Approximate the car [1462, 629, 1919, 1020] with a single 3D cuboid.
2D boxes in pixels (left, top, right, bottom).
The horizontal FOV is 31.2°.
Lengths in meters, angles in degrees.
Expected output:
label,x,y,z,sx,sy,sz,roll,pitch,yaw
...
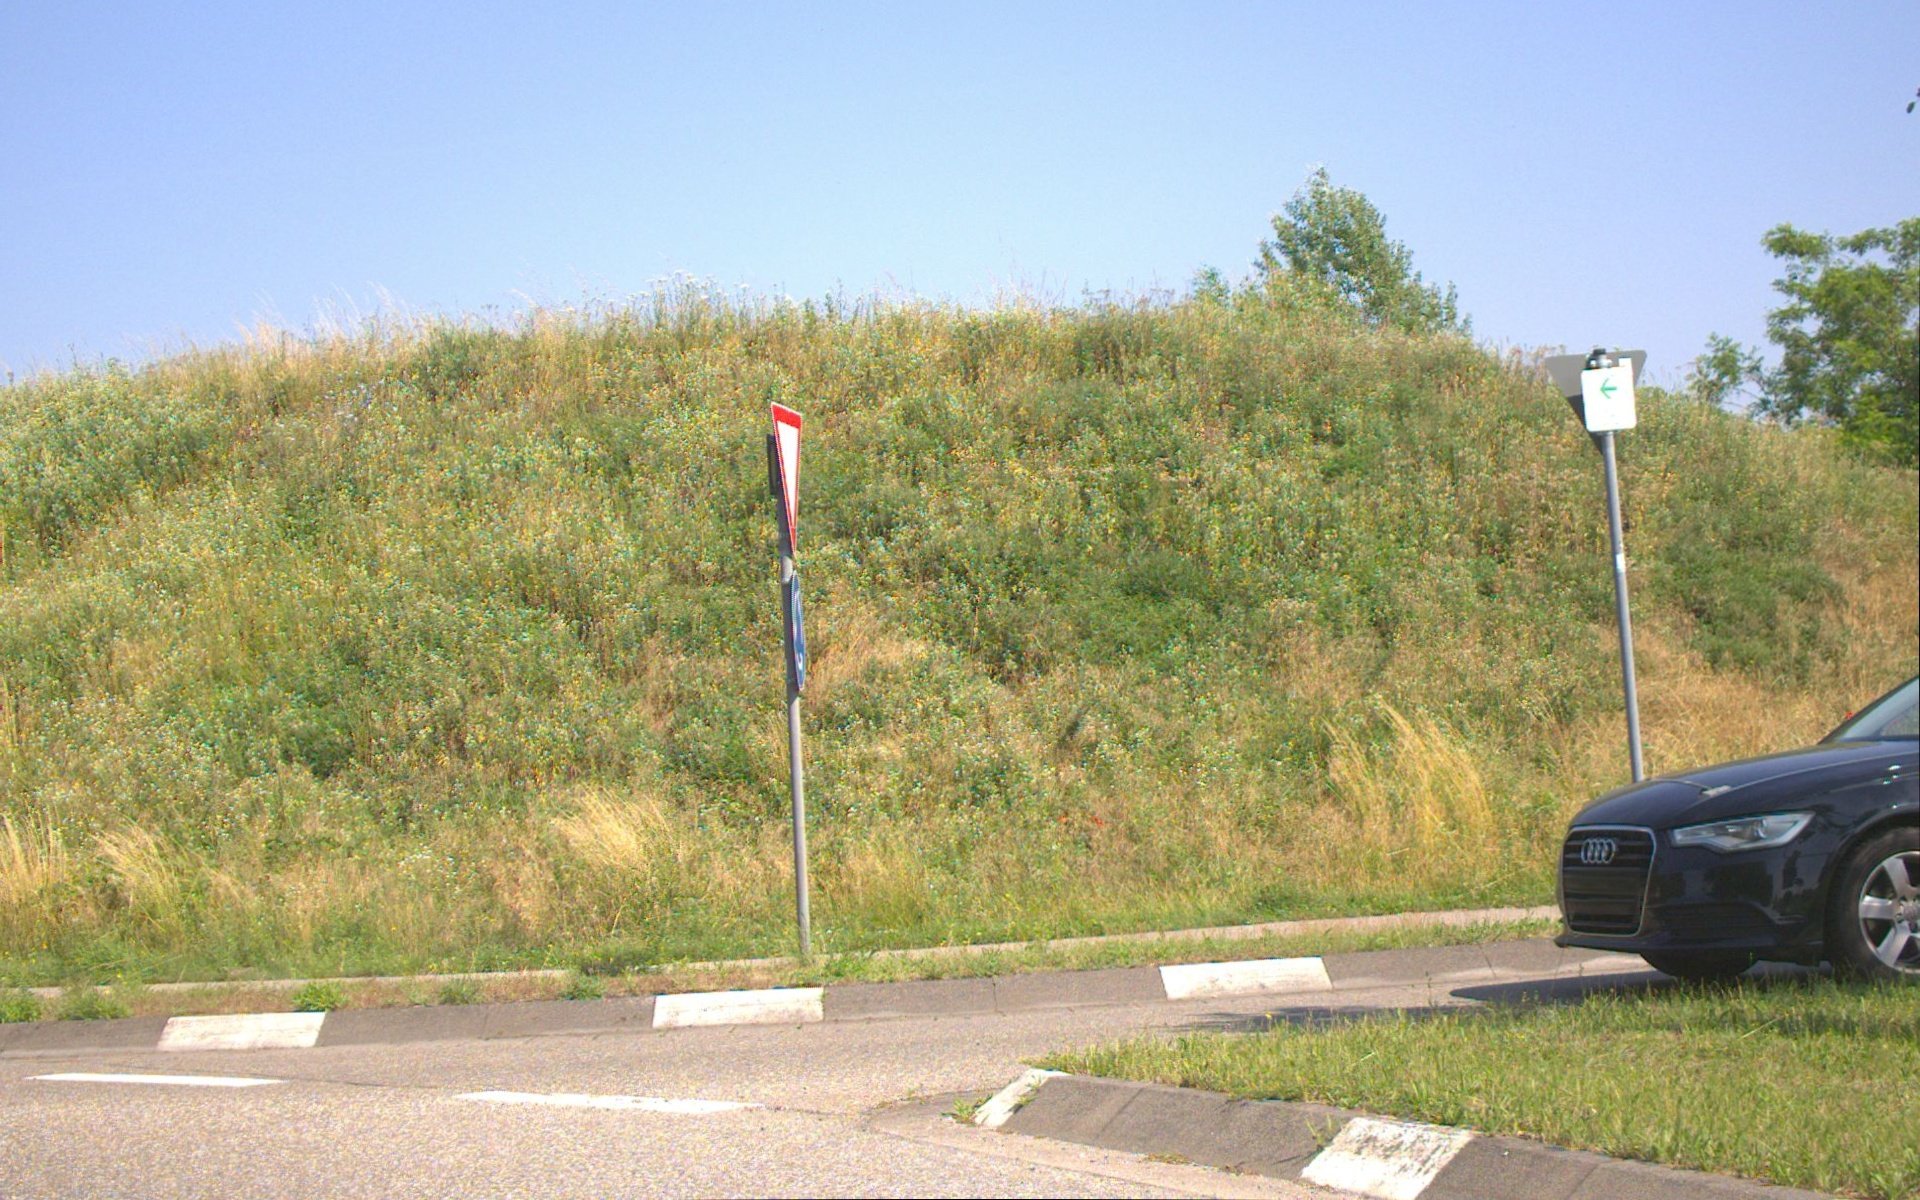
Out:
label,x,y,z,sx,sy,sz,roll,pitch,yaw
car,4.809,0.853,14.562,4.895,1.429,1.924,-2,-4,-19
